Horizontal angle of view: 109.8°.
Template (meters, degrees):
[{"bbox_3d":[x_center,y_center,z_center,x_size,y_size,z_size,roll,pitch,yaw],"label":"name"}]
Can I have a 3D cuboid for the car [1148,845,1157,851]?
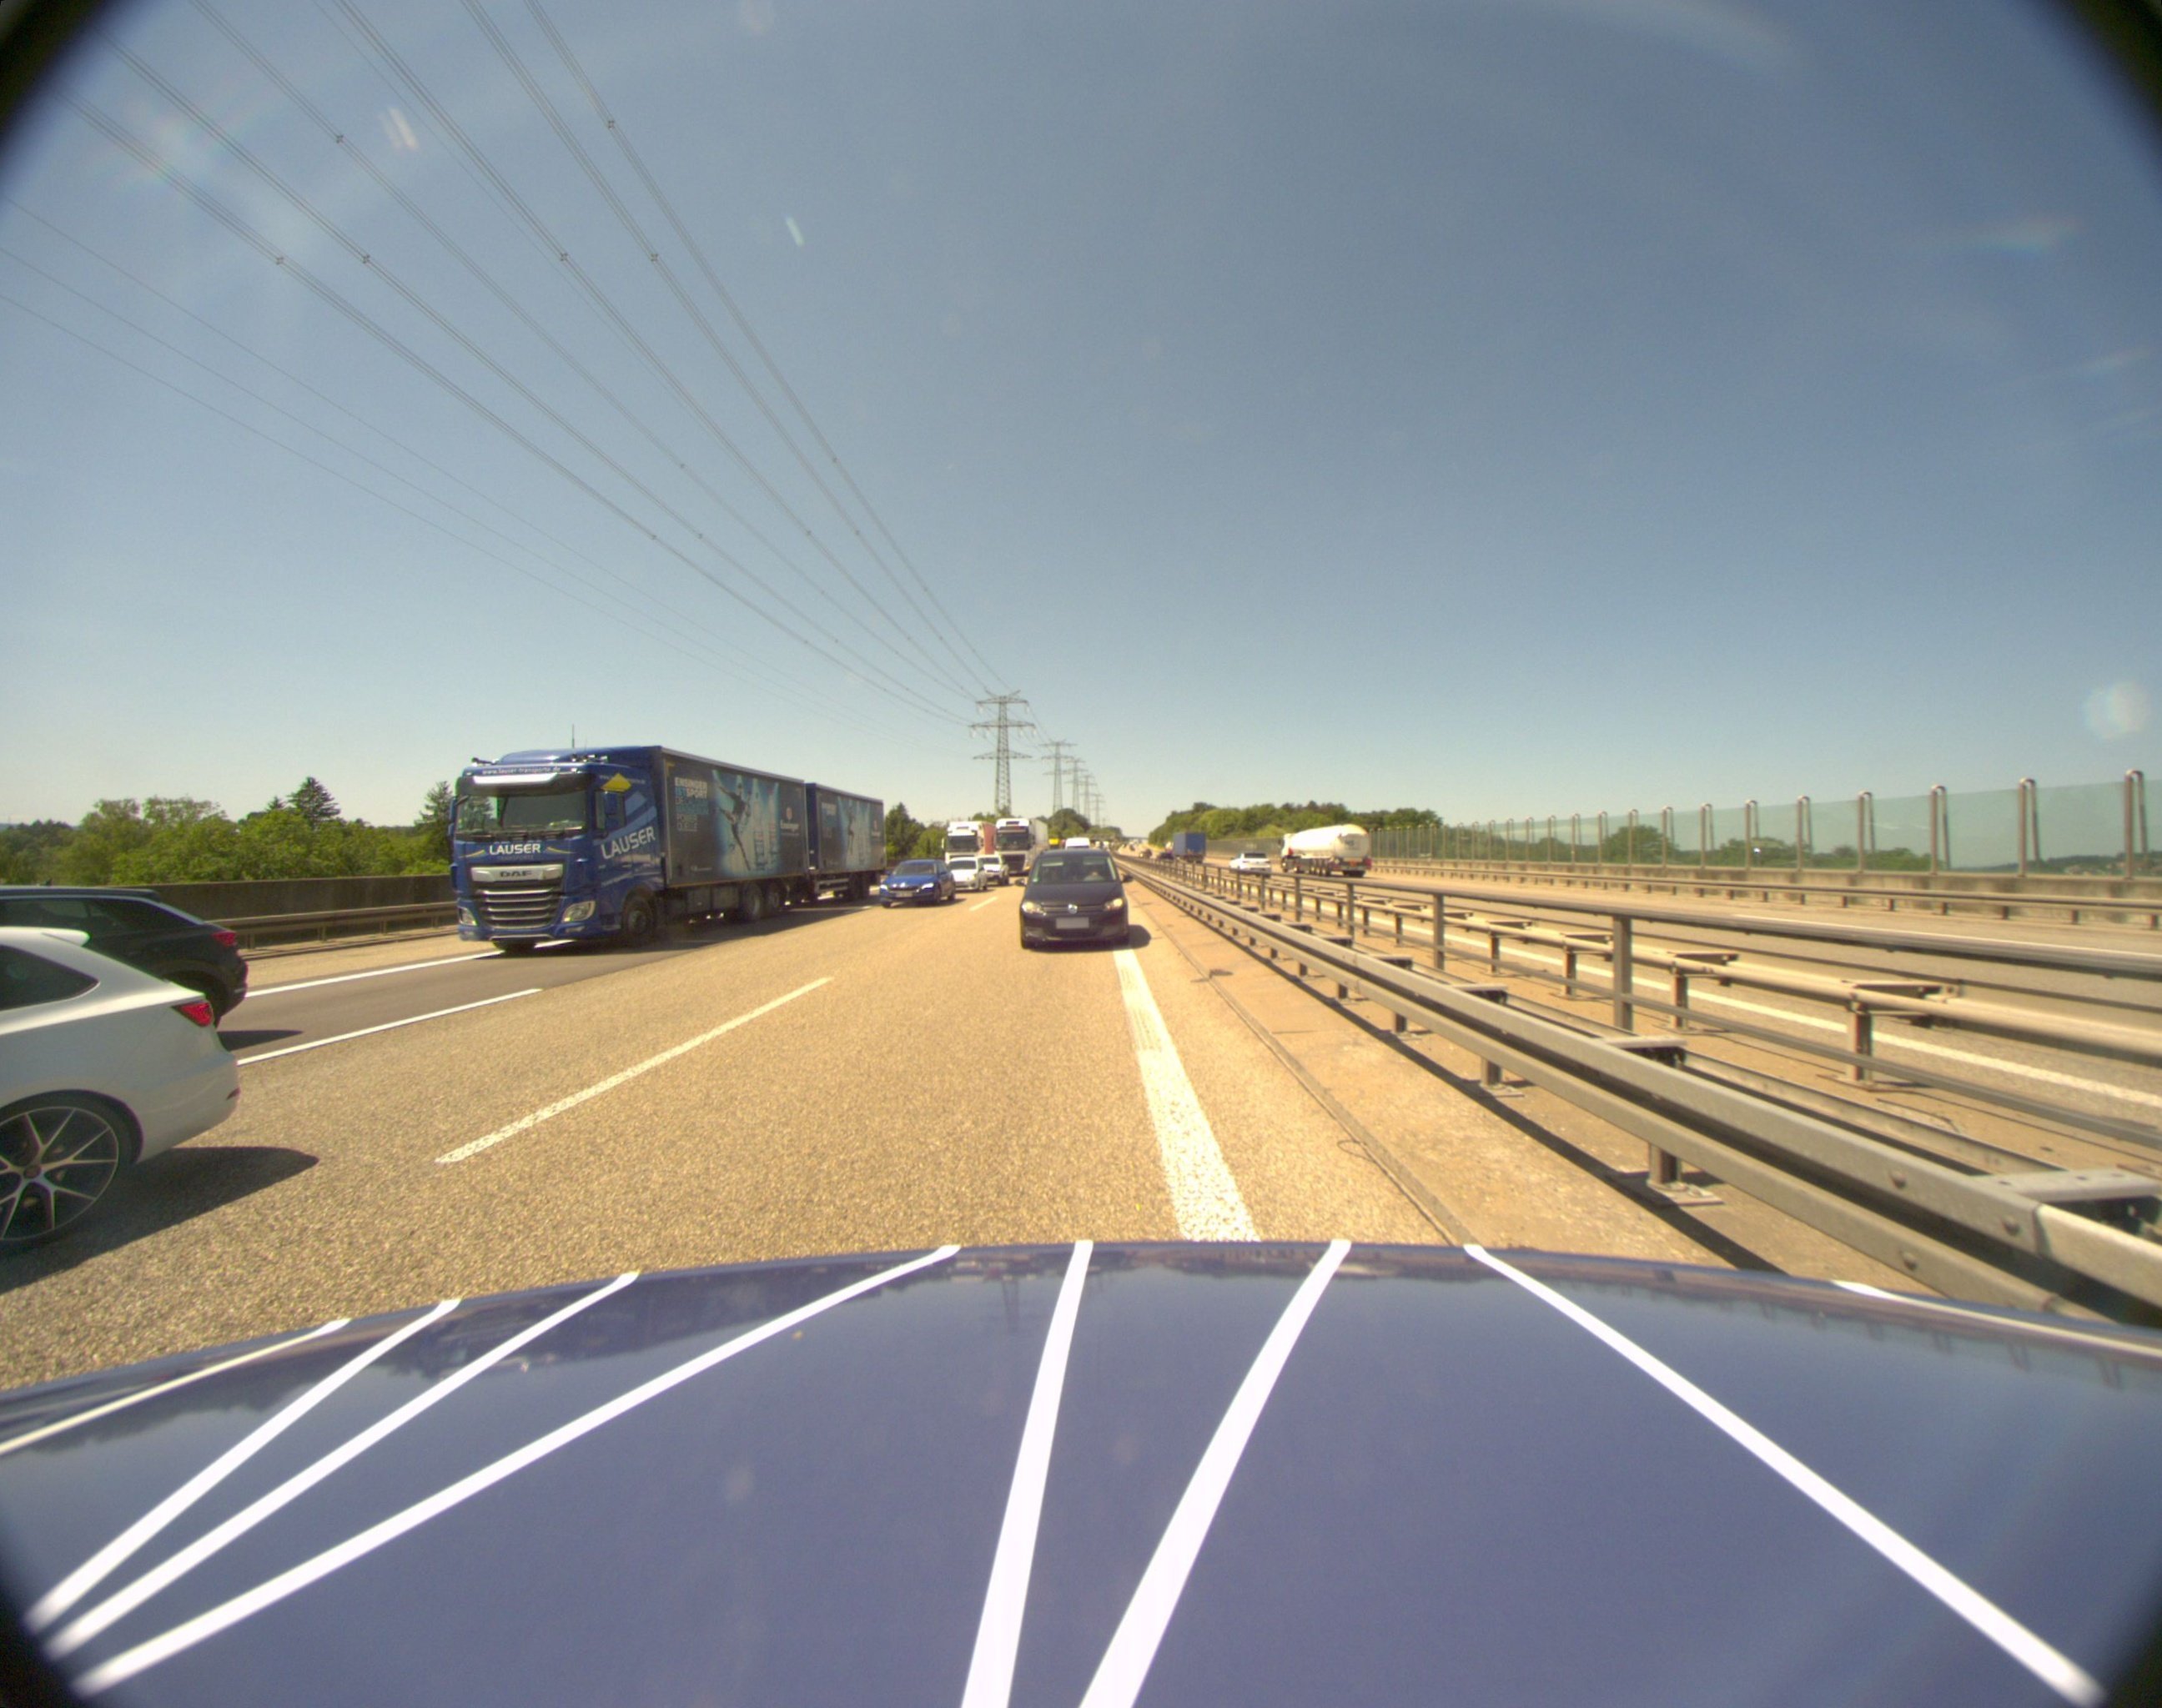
[{"bbox_3d":[17.050,-1.505,182.069,1.802,1.490,3.851,0,1,1],"label":"car"}]

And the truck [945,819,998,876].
[{"bbox_3d":[-8.159,-0.515,57.741,2.608,3.965,8.263,-2,1,1],"label":"truck"}]

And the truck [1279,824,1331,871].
[{"bbox_3d":[17.422,-0.547,59.420,2.527,3.515,5.329,0,1,1],"label":"truck"}]

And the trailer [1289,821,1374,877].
[{"bbox_3d":[17.224,-0.410,53.104,2.505,3.520,10.902,0,1,1],"label":"trailer"}]

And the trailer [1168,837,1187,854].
[{"bbox_3d":[20.754,-1.835,163.374,2.883,3.360,12.006,1,1,2],"label":"trailer"}]

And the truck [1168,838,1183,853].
[{"bbox_3d":[20.992,-1.924,169.195,2.915,3.395,6.294,1,1,2],"label":"truck"}]

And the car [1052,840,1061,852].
[{"bbox_3d":[-5.190,-1.784,161.737,1.704,2.525,3.999,2,1,1],"label":"car"}]

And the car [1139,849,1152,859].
[{"bbox_3d":[11.296,0.036,133.372,1.886,1.543,4.188,-2,1,-1],"label":"car"}]

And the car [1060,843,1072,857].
[{"bbox_3d":[-2.354,-0.617,122.481,1.704,2.116,3.999,2,1,1],"label":"car"}]

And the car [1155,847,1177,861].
[{"bbox_3d":[9.674,-0.010,86.728,1.886,1.543,4.188,-2,1,-1],"label":"car"}]

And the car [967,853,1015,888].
[{"bbox_3d":[-4.388,0.791,37.662,1.712,1.501,4.144,-2,1,2],"label":"car"}]

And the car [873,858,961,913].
[{"bbox_3d":[-5.206,0.948,24.796,1.712,1.443,4.563,-2,1,2],"label":"car"}]

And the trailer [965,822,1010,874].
[{"bbox_3d":[-8.038,-0.547,66.427,2.608,4.094,9.083,-2,1,1],"label":"trailer"}]

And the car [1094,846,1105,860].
[{"bbox_3d":[2.908,-0.220,119.513,1.704,2.116,3.999,-2,1,1],"label":"car"}]

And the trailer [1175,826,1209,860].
[{"bbox_3d":[14.038,-1.416,97.152,2.711,4.141,12.047,0,1,0],"label":"trailer"}]

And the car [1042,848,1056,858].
[{"bbox_3d":[-5.201,-0.184,122.727,1.924,1.501,3.996,-2,1,2],"label":"car"}]

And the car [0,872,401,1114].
[{"bbox_3d":[-8.795,1.101,6.718,1.712,1.645,4.117,-2,1,2],"label":"car"}]

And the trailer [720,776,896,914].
[{"bbox_3d":[-9.302,-0.341,27.271,2.835,4.066,8.637,-2,1,1],"label":"trailer"}]

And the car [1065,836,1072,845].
[{"bbox_3d":[-3.117,-3.318,189.241,1.704,2.116,3.999,2,1,1],"label":"car"}]

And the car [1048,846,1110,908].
[{"bbox_3d":[-0.027,0.636,23.434,1.712,1.669,3.931,-2,1,1],"label":"car"}]

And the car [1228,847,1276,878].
[{"bbox_3d":[9.769,0.465,43.770,1.811,1.630,3.999,1,1,0],"label":"car"}]

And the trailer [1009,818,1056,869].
[{"bbox_3d":[-3.857,-0.898,62.645,2.822,3.830,9.085,-2,1,3],"label":"trailer"}]

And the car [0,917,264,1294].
[{"bbox_3d":[-5.251,1.090,1.823,1.713,1.443,4.429,-2,0,0],"label":"car"}]

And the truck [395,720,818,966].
[{"bbox_3d":[-9.574,-0.259,17.653,2.859,3.927,10.393,-2,1,2],"label":"truck"}]

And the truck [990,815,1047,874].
[{"bbox_3d":[-4.292,-0.695,53.931,2.849,3.804,8.264,-2,1,3],"label":"truck"}]

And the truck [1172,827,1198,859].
[{"bbox_3d":[14.028,-1.494,102.612,2.760,4.093,6.264,0,1,1],"label":"truck"}]

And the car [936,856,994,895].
[{"bbox_3d":[-4.917,0.881,32.723,1.712,1.443,4.144,-2,1,2],"label":"car"}]

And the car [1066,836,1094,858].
[{"bbox_3d":[-0.049,-0.525,56.718,1.924,1.501,3.996,-2,1,2],"label":"car"}]

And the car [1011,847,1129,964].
[{"bbox_3d":[-0.132,0.766,13.441,1.712,1.669,3.931,-2,1,1],"label":"car"}]
